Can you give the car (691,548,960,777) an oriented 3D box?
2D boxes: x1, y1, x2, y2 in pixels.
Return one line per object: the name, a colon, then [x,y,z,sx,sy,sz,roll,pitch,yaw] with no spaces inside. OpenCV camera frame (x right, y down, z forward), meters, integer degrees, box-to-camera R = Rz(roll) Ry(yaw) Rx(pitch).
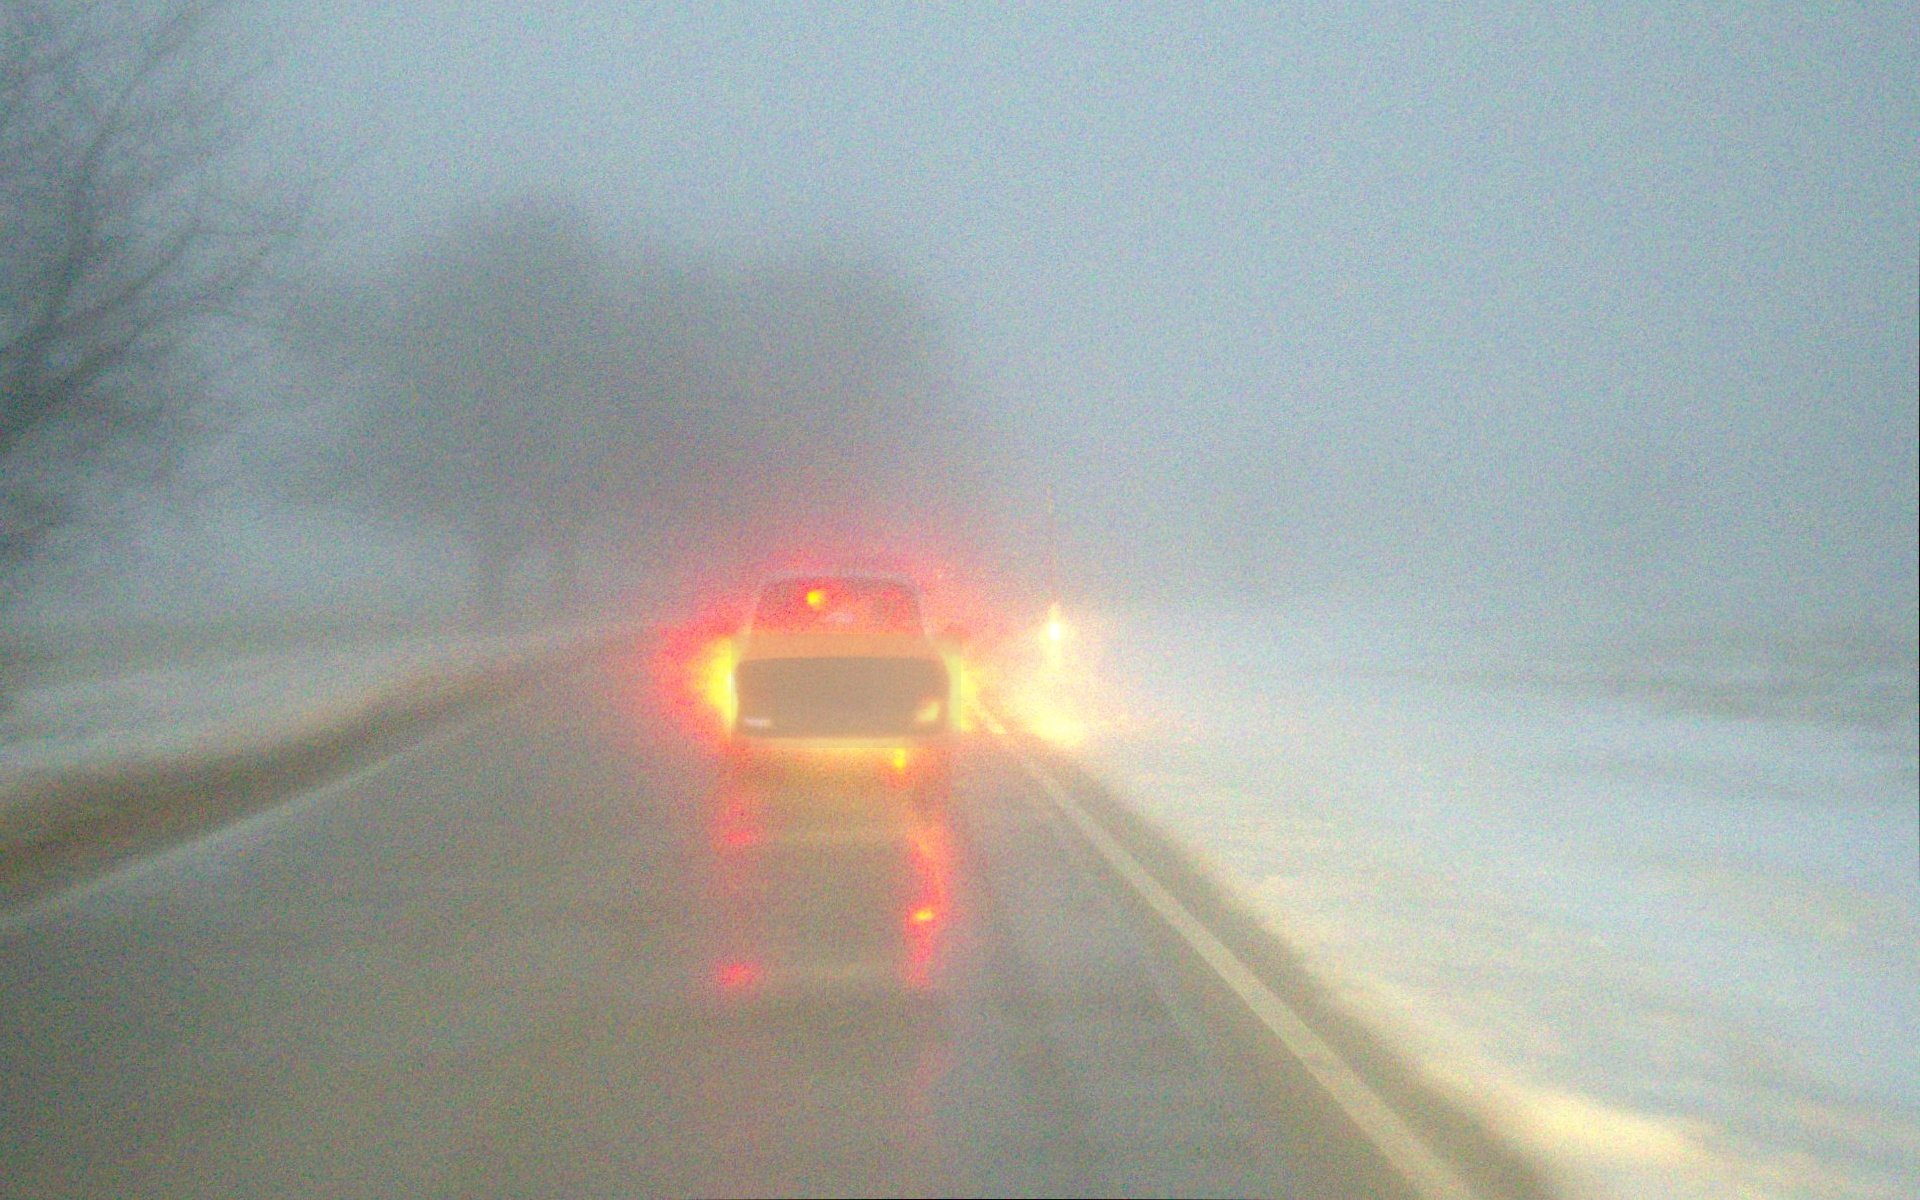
car: [-0.895,0.385,24.811,1.707,1.458,4.000,2,1,0]
